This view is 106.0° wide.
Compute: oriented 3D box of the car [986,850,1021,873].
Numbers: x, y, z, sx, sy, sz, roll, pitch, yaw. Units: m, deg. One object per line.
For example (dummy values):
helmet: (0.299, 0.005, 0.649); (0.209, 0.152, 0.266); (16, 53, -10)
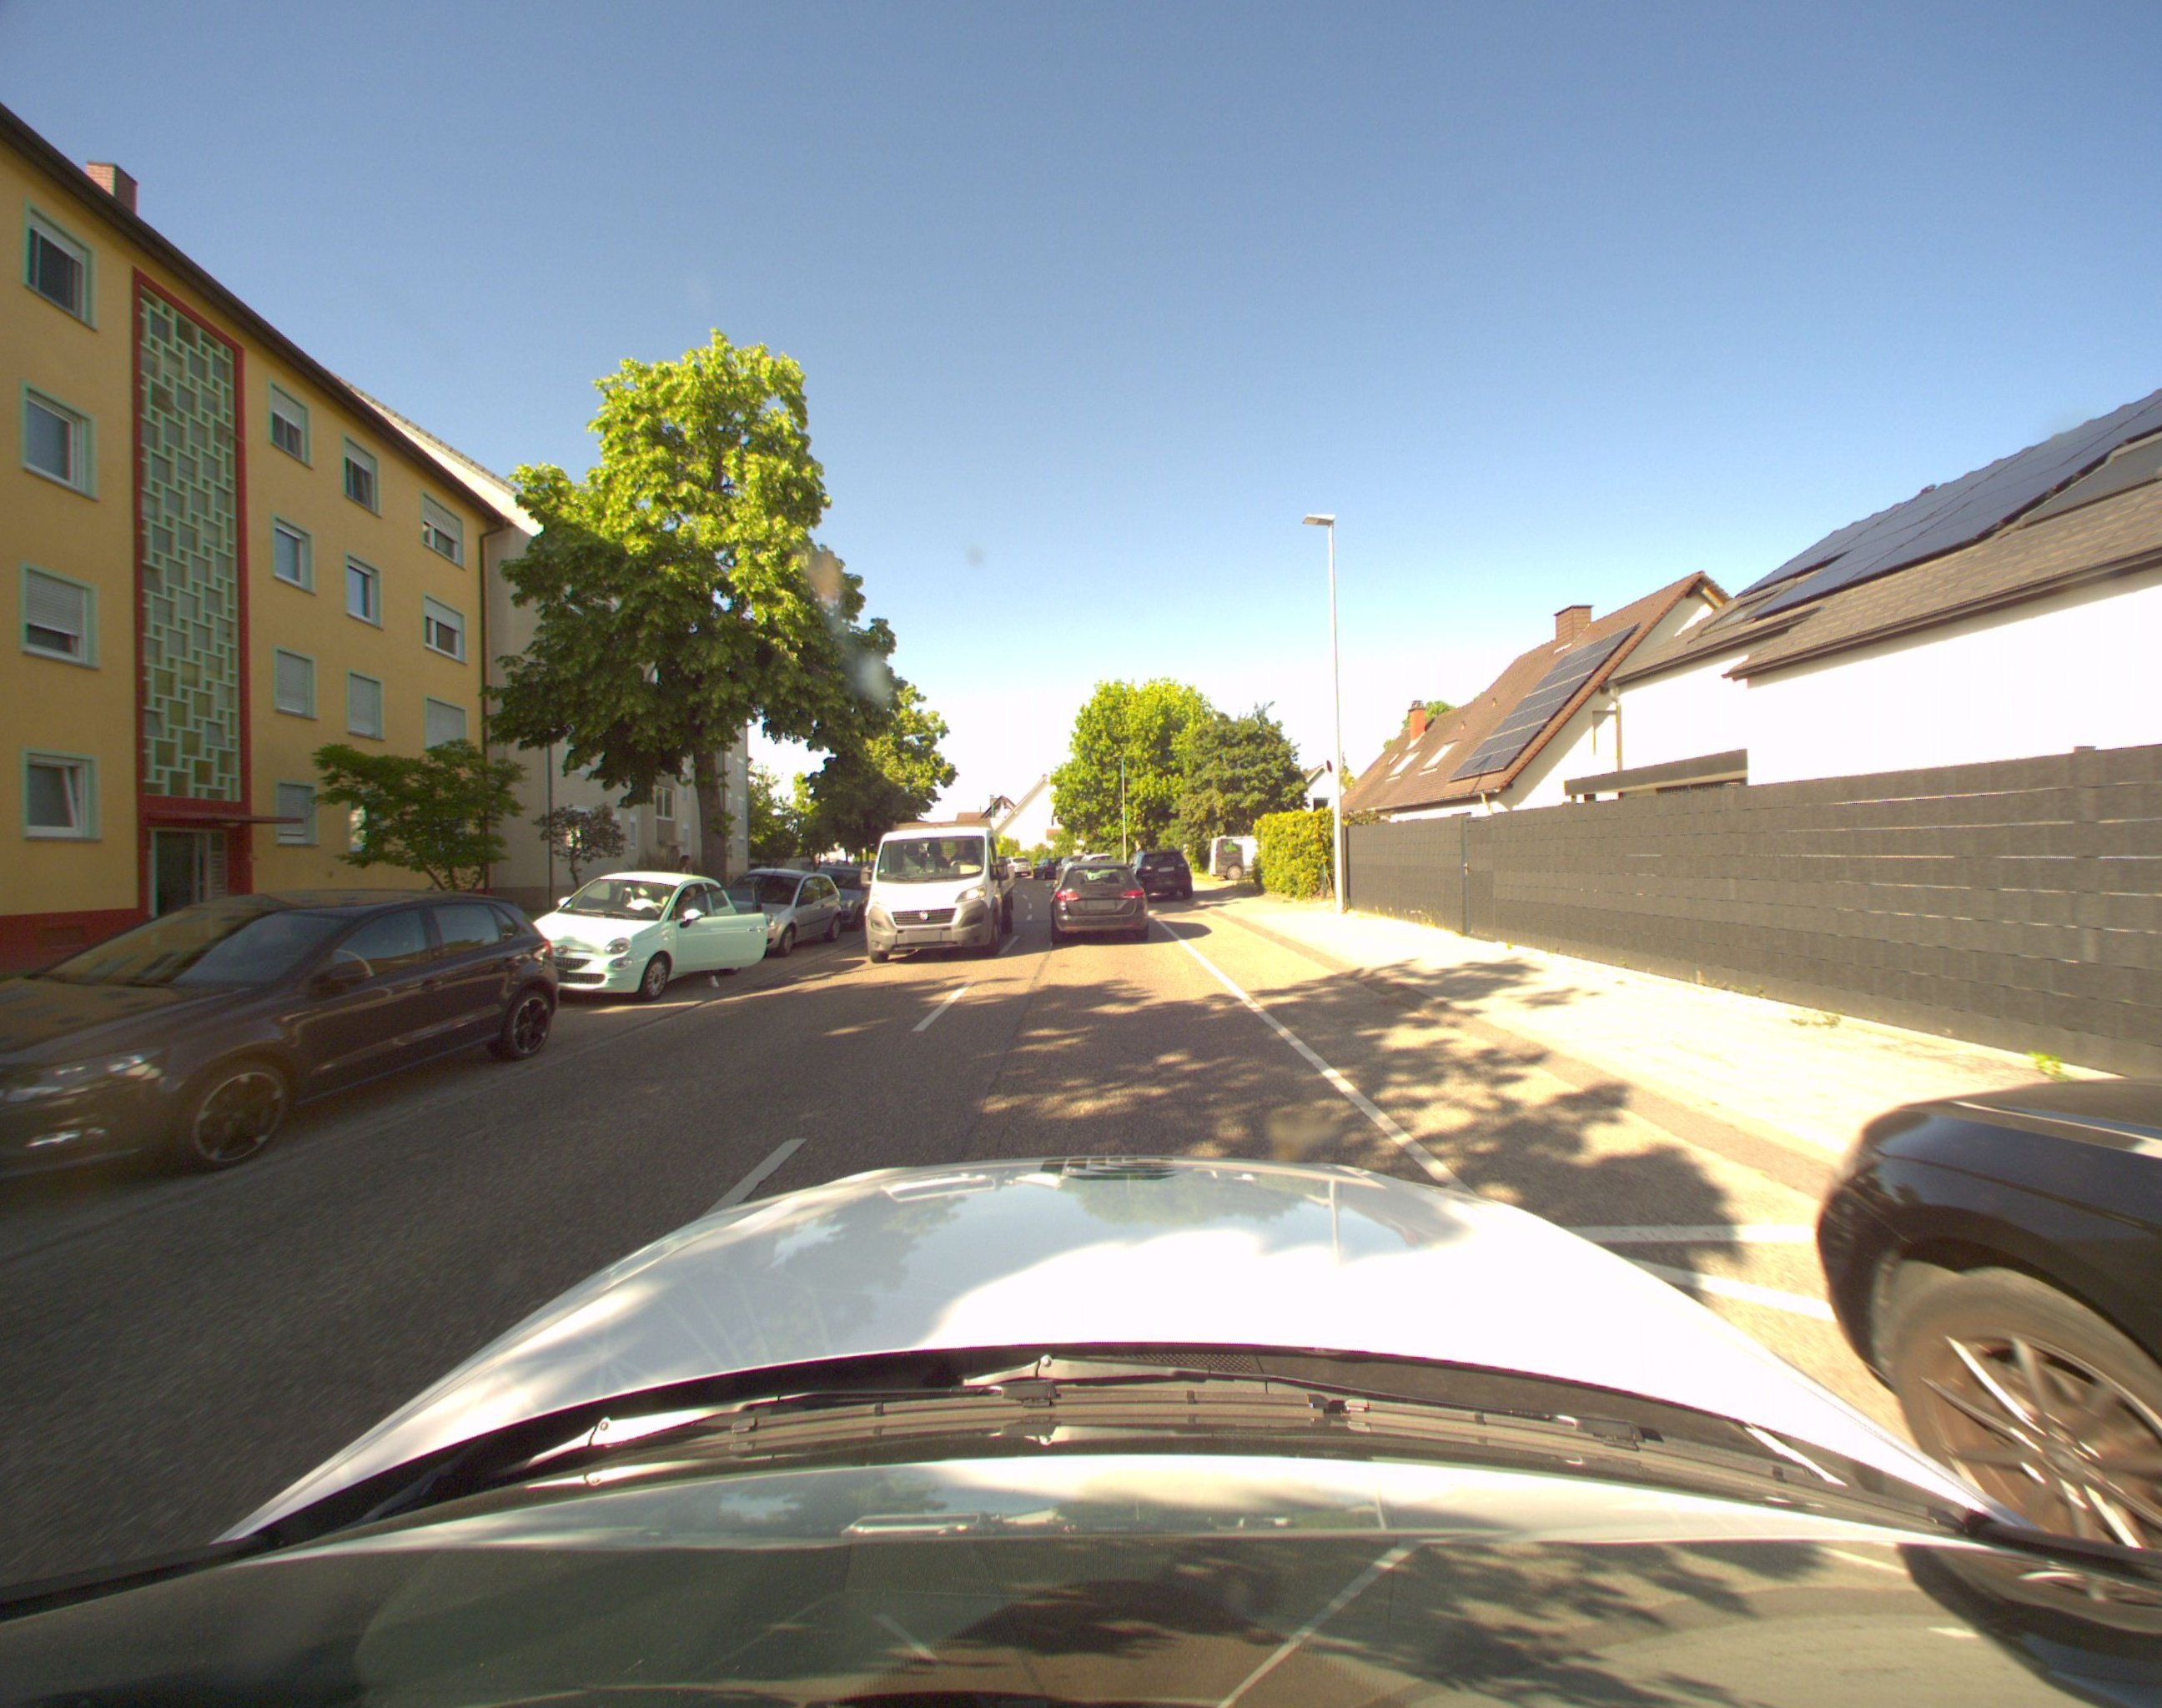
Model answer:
car: (-6.412, 0.641, 67.043); (2.010, 1.724, 4.270); (-3, 0, -16)

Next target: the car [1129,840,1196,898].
car: (2.648, 0.468, 27.241); (1.772, 1.724, 4.294); (-3, 0, 1)

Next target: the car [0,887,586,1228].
car: (-5.489, 1.010, 5.704); (1.697, 1.480, 4.047); (0, -1, -3)

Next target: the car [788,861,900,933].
car: (-5.867, 0.996, 20.659); (1.562, 1.530, 3.919); (2, 1, 1)

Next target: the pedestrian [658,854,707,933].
pedestrian: (-8.957, 0.884, 18.331); (0.683, 1.718, 0.720); (-3, -2, -1)

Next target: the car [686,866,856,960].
car: (-5.832, 1.040, 15.869); (1.651, 1.510, 4.002); (-1, 0, 2)

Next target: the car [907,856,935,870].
car: (-17.707, 1.031, 89.807); (1.927, 1.407, 4.256); (-2, 0, -27)

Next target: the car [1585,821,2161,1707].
car: (2.694, 0.705, 0.446); (1.759, 1.480, 4.992); (-3, 1, 1)

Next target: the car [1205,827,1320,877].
car: (8.147, -0.099, 36.809); (4.666, 1.983, 2.143); (-3, 0, 0)

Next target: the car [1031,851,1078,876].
car: (-1.758, 0.603, 52.749); (2.010, 1.475, 4.271); (-3, 0, -16)

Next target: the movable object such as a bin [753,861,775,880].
movable object such as a bin: (-25.700, 1.357, 66.124); (1.521, 1.427, 1.082); (-2, -2, -16)

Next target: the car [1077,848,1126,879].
car: (1.023, 0.507, 43.125); (1.761, 1.480, 4.279); (-3, 0, -10)

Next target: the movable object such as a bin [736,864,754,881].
movable object such as a bin: (-27.068, 1.496, 65.689); (1.174, 1.321, 1.082); (-2, -2, -16)

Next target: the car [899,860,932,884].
car: (-11.030, 1.159, 54.106); (1.692, 1.491, 4.266); (-1, 0, -17)

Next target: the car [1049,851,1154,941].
car: (0.366, 0.726, 15.992); (1.756, 1.491, 4.290); (-1, 0, 0)

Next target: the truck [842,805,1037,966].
truck: (-2.324, 0.475, 15.566); (2.120, 2.334, 6.448); (-3, 0, 3)

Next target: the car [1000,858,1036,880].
car: (-4.816, 1.156, 61.663); (1.824, 1.534, 4.235); (-3, 0, -16)

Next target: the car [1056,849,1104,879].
car: (-0.114, 0.572, 47.624); (1.913, 1.600, 4.275); (-3, 0, -12)

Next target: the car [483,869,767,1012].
car: (-5.997, 1.033, 11.337); (1.696, 1.523, 4.049); (-3, -1, -2)
